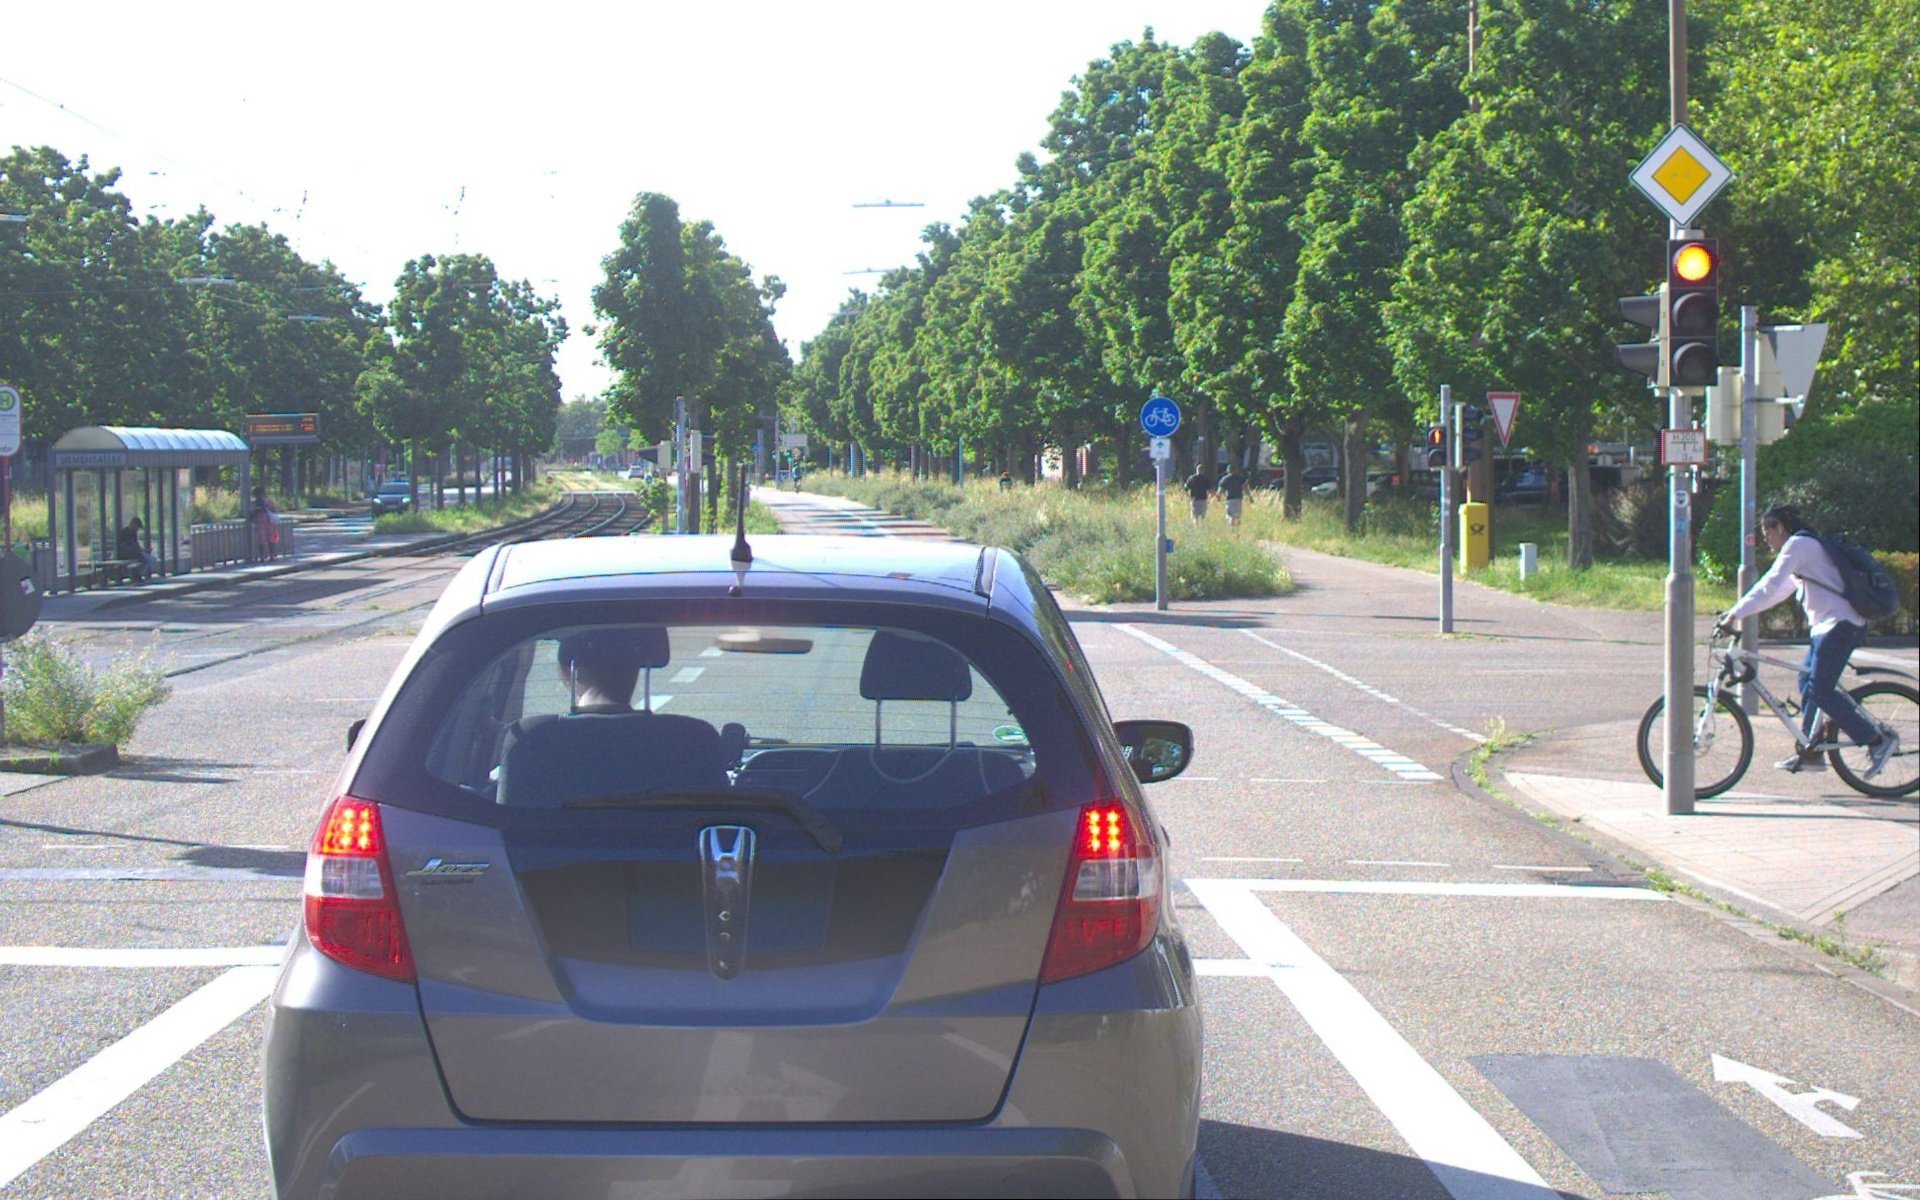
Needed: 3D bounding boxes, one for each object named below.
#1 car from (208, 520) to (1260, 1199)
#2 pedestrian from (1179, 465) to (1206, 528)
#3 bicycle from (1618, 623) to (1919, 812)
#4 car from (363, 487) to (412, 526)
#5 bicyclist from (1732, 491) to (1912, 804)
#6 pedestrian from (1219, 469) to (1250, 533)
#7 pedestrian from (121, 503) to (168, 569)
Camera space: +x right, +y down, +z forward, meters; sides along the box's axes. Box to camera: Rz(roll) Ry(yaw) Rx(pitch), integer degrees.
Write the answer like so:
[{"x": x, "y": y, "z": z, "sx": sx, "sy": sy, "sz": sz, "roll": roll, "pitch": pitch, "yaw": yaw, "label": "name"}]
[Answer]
[{"x": -0.373, "y": 0.591, "z": 7.617, "sx": 1.707, "sy": 1.503, "sz": 4.000, "roll": 1, "pitch": 1, "yaw": 0, "label": "car"}, {"x": 5.905, "y": -2.620, "z": 87.380, "sx": 0.567, "sy": 1.591, "sz": 0.666, "roll": 1, "pitch": 1, "yaw": -4, "label": "pedestrian"}, {"x": 4.755, "y": 0.663, "z": 19.657, "sx": 1.921, "sy": 0.994, "sz": 0.764, "roll": 1, "pitch": 1, "yaw": 10, "label": "bicycle"}, {"x": -25.947, "y": -4.237, "z": 155.878, "sx": 1.766, "sy": 1.732, "sz": 4.001, "roll": 0, "pitch": 1, "yaw": -3, "label": "car"}, {"x": 4.908, "y": 0.265, "z": 19.620, "sx": 0.910, "sy": 1.739, "sz": 0.764, "roll": -1, "pitch": 1, "yaw": 10, "label": "bicyclist"}, {"x": 6.979, "y": -2.518, "z": 87.421, "sx": 0.678, "sy": 1.604, "sz": 0.721, "roll": 1, "pitch": 1, "yaw": -3, "label": "pedestrian"}, {"x": -15.568, "y": -1.230, "z": 65.629, "sx": 0.721, "sy": 1.241, "sz": 0.711, "roll": -1, "pitch": 1, "yaw": -2, "label": "pedestrian"}]
